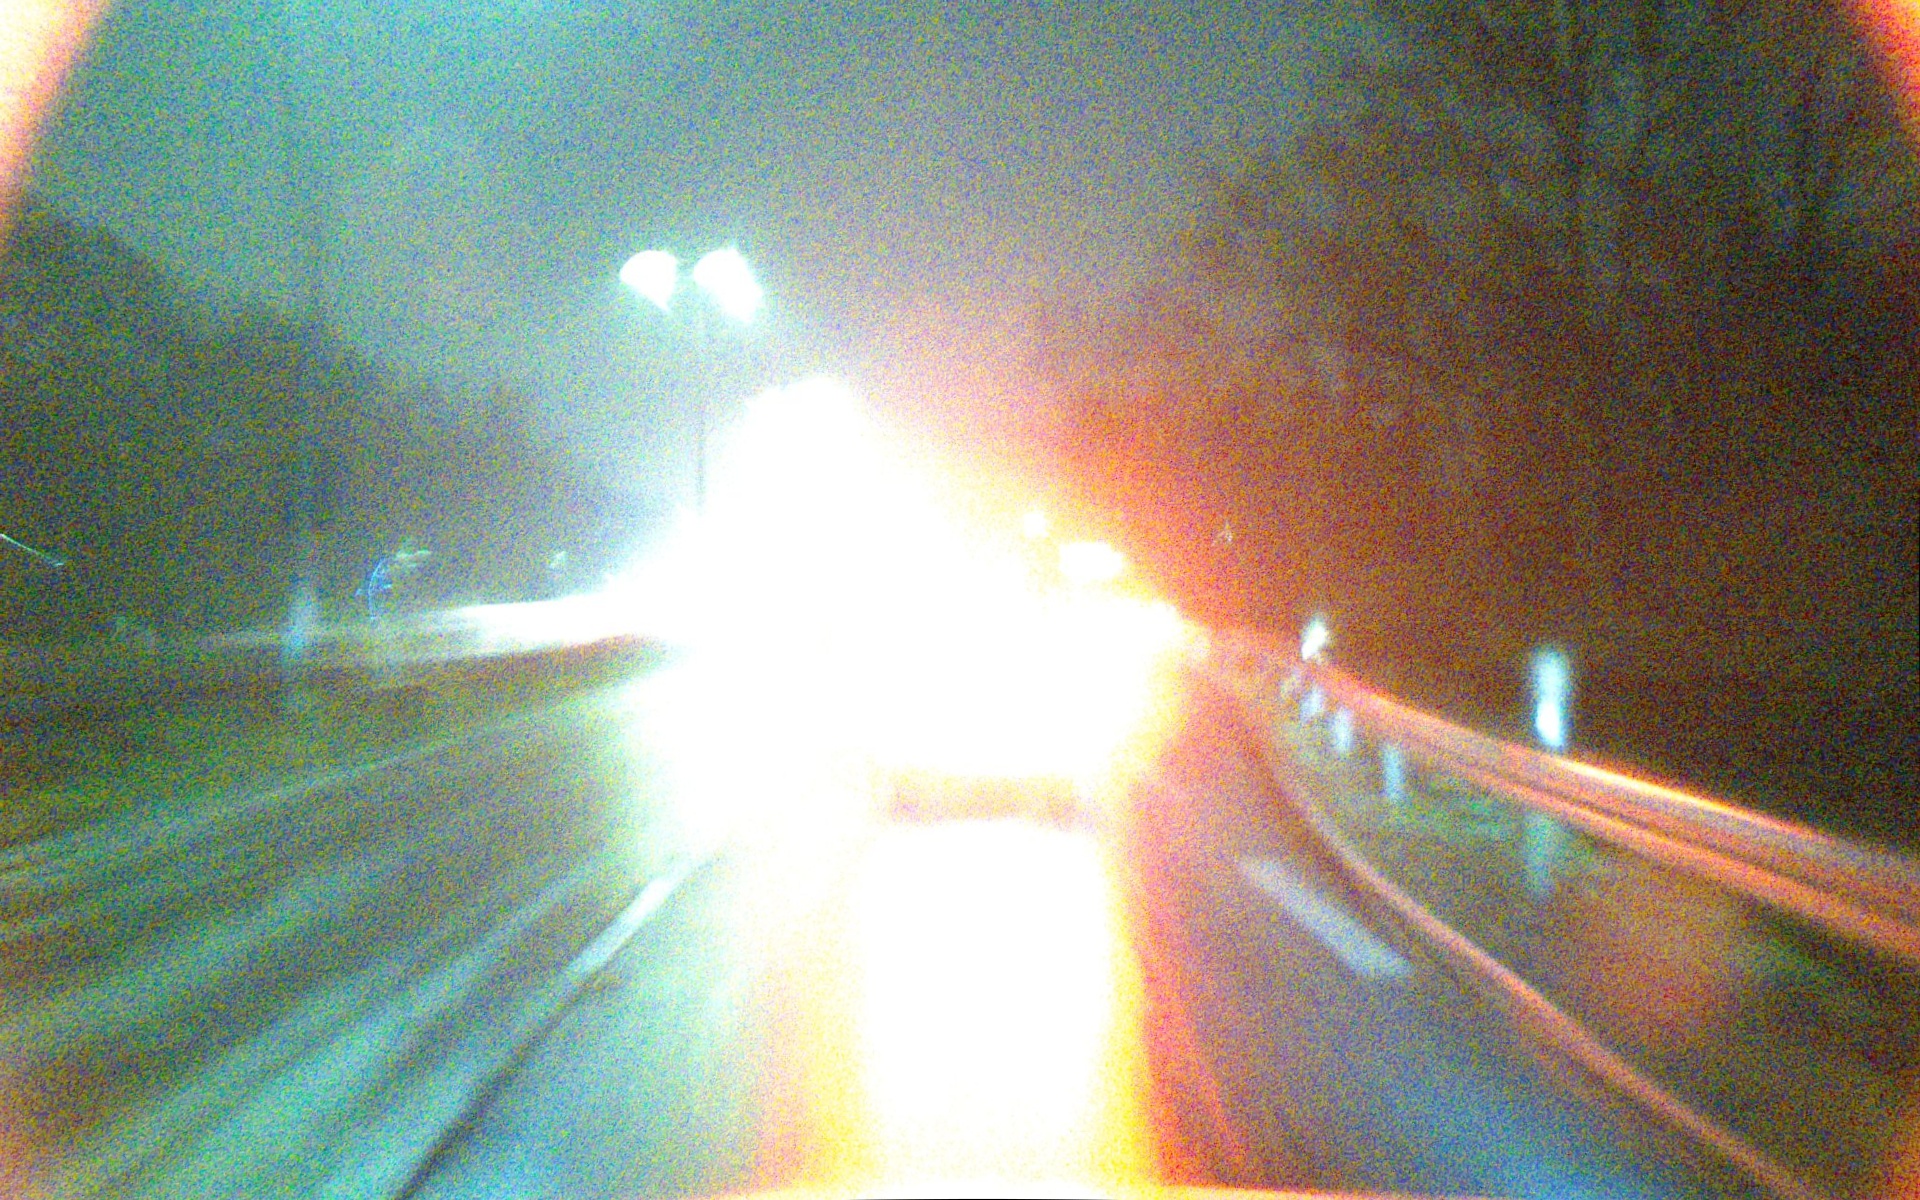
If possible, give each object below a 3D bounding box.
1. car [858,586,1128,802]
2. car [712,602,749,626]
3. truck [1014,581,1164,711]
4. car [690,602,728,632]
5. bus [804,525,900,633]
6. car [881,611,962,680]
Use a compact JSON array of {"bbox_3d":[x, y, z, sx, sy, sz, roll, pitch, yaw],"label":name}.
[{"bbox_3d":[0.314,0.666,13.574,1.904,1.517,3.717,0,0,2],"label":"car"},{"bbox_3d":[-15.867,0.984,114.574,1.982,1.528,4.895,2,-1,-1],"label":"car"},{"bbox_3d":[2.918,1.000,37.568,3.005,2.573,7.170,2,-1,4],"label":"truck"},{"bbox_3d":[-14.035,0.974,92.631,1.567,1.579,3.833,2,-1,0],"label":"car"},{"bbox_3d":[-3.445,-0.690,54.750,2.688,3.178,9.199,2,1,-1],"label":"bus"},{"bbox_3d":[-0.863,1.011,38.327,1.785,1.487,3.715,0,0,-1],"label":"car"}]
